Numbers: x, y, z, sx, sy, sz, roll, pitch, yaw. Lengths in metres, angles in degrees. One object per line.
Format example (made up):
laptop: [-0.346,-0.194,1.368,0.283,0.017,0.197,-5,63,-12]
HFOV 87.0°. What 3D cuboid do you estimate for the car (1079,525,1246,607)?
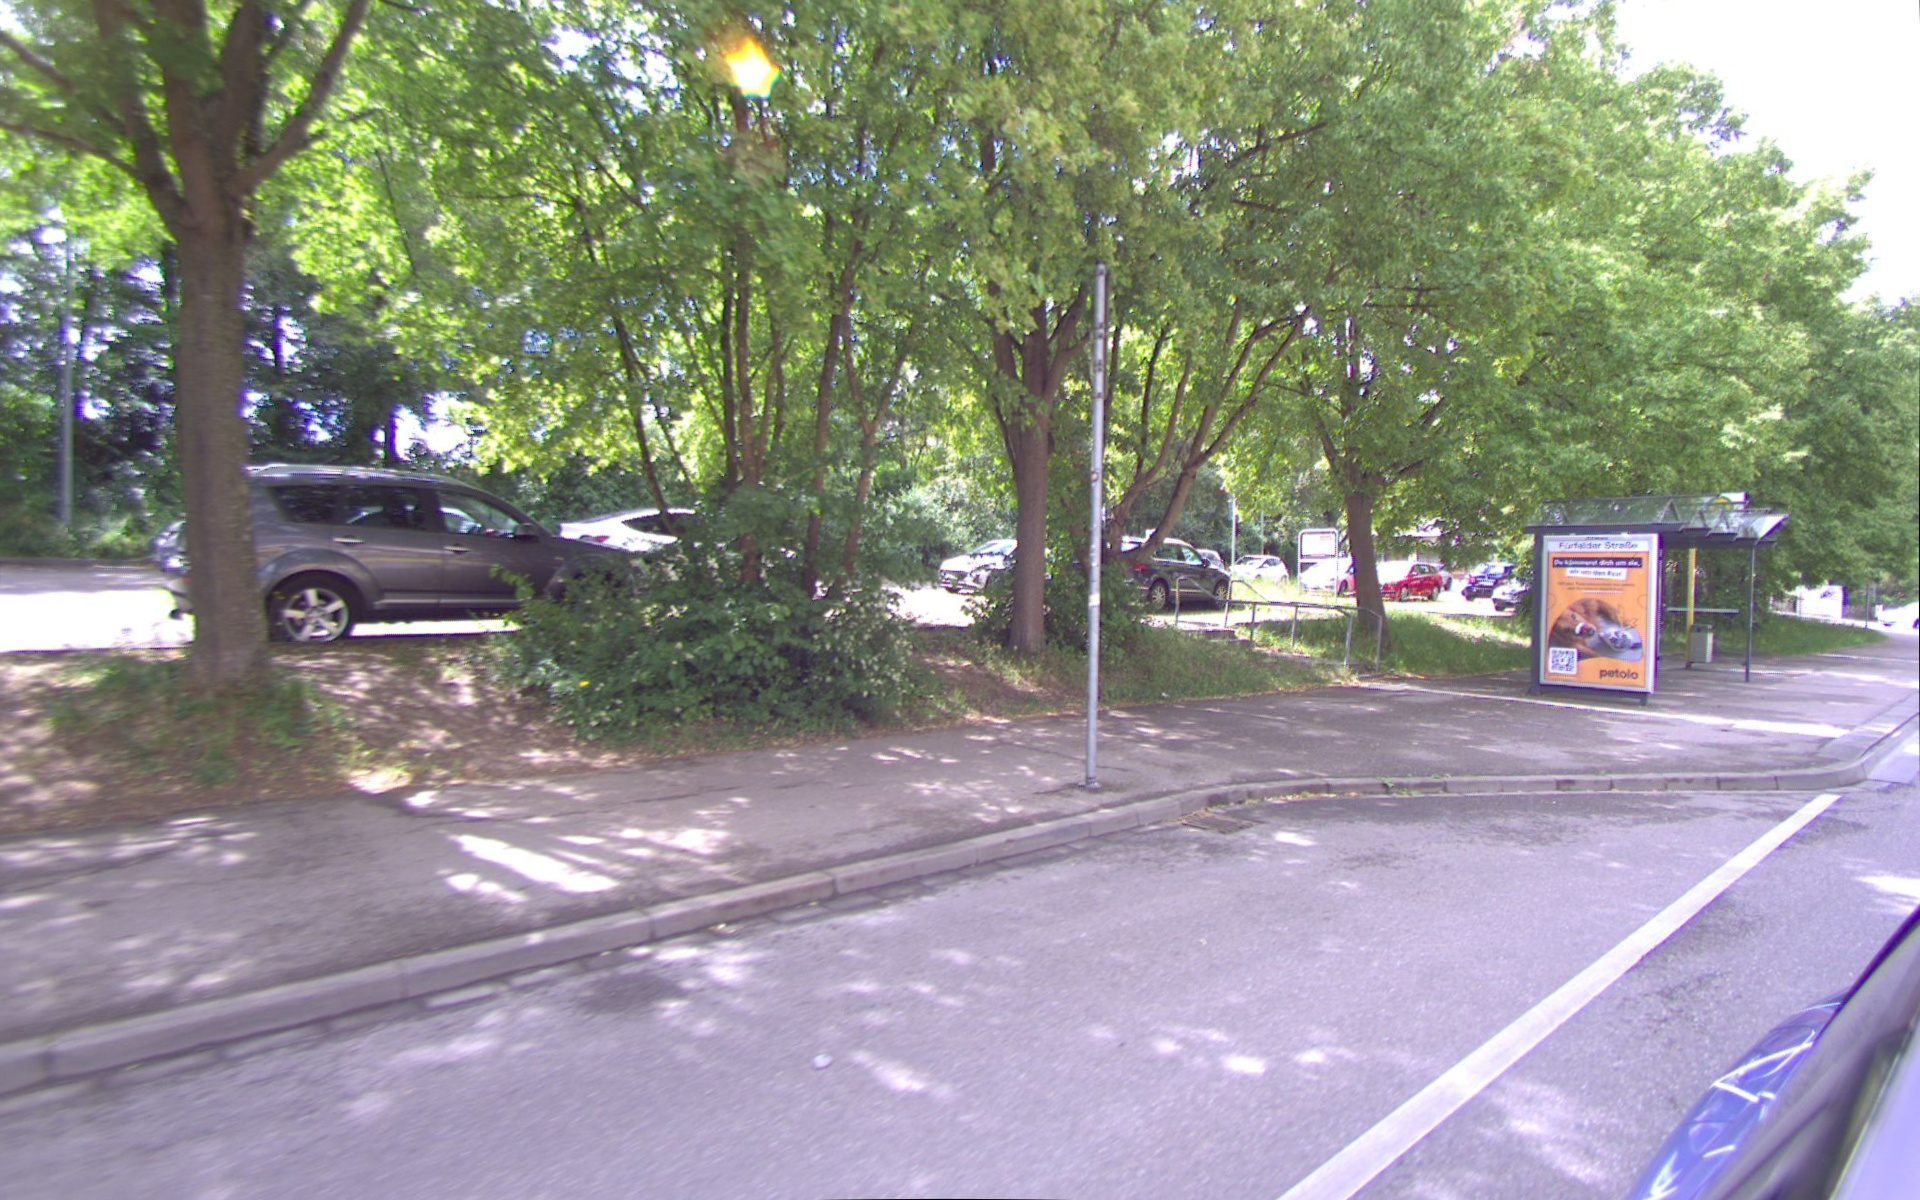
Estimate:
car: [4.853,-0.840,23.966,4.191,1.714,1.691,-2,6,-43]

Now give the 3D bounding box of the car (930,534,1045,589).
car: [0.751,-1.038,26.647,2.812,1.318,1.410,-2,6,-43]

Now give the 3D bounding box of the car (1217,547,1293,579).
car: [13.568,-1.690,46.438,3.599,1.344,1.634,0,4,-42]

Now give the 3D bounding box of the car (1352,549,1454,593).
car: [16.592,-1.069,37.823,4.466,1.495,1.756,0,4,-42]

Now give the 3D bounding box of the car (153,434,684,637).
car: [-5.480,-0.555,10.654,4.642,1.683,1.849,0,1,-42]

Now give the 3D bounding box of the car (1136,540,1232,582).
car: [9.569,-1.655,43.133,4.031,1.644,2.061,0,2,-43]

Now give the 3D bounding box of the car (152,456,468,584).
car: [-10.508,-1.235,16.539,4.135,1.811,1.616,0,4,-42]

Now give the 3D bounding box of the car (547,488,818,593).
car: [-4.816,-1.005,17.938,4.352,1.574,1.474,1,4,-40]

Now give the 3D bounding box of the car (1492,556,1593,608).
car: [19.280,-0.586,33.427,4.067,1.532,1.630,0,5,-42]

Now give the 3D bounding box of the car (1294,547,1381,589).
car: [14.668,-1.221,39.289,3.599,1.495,1.634,0,4,-42]

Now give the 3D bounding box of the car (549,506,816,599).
car: [-4.813,-0.797,17.948,4.277,1.459,1.616,0,4,-42]
